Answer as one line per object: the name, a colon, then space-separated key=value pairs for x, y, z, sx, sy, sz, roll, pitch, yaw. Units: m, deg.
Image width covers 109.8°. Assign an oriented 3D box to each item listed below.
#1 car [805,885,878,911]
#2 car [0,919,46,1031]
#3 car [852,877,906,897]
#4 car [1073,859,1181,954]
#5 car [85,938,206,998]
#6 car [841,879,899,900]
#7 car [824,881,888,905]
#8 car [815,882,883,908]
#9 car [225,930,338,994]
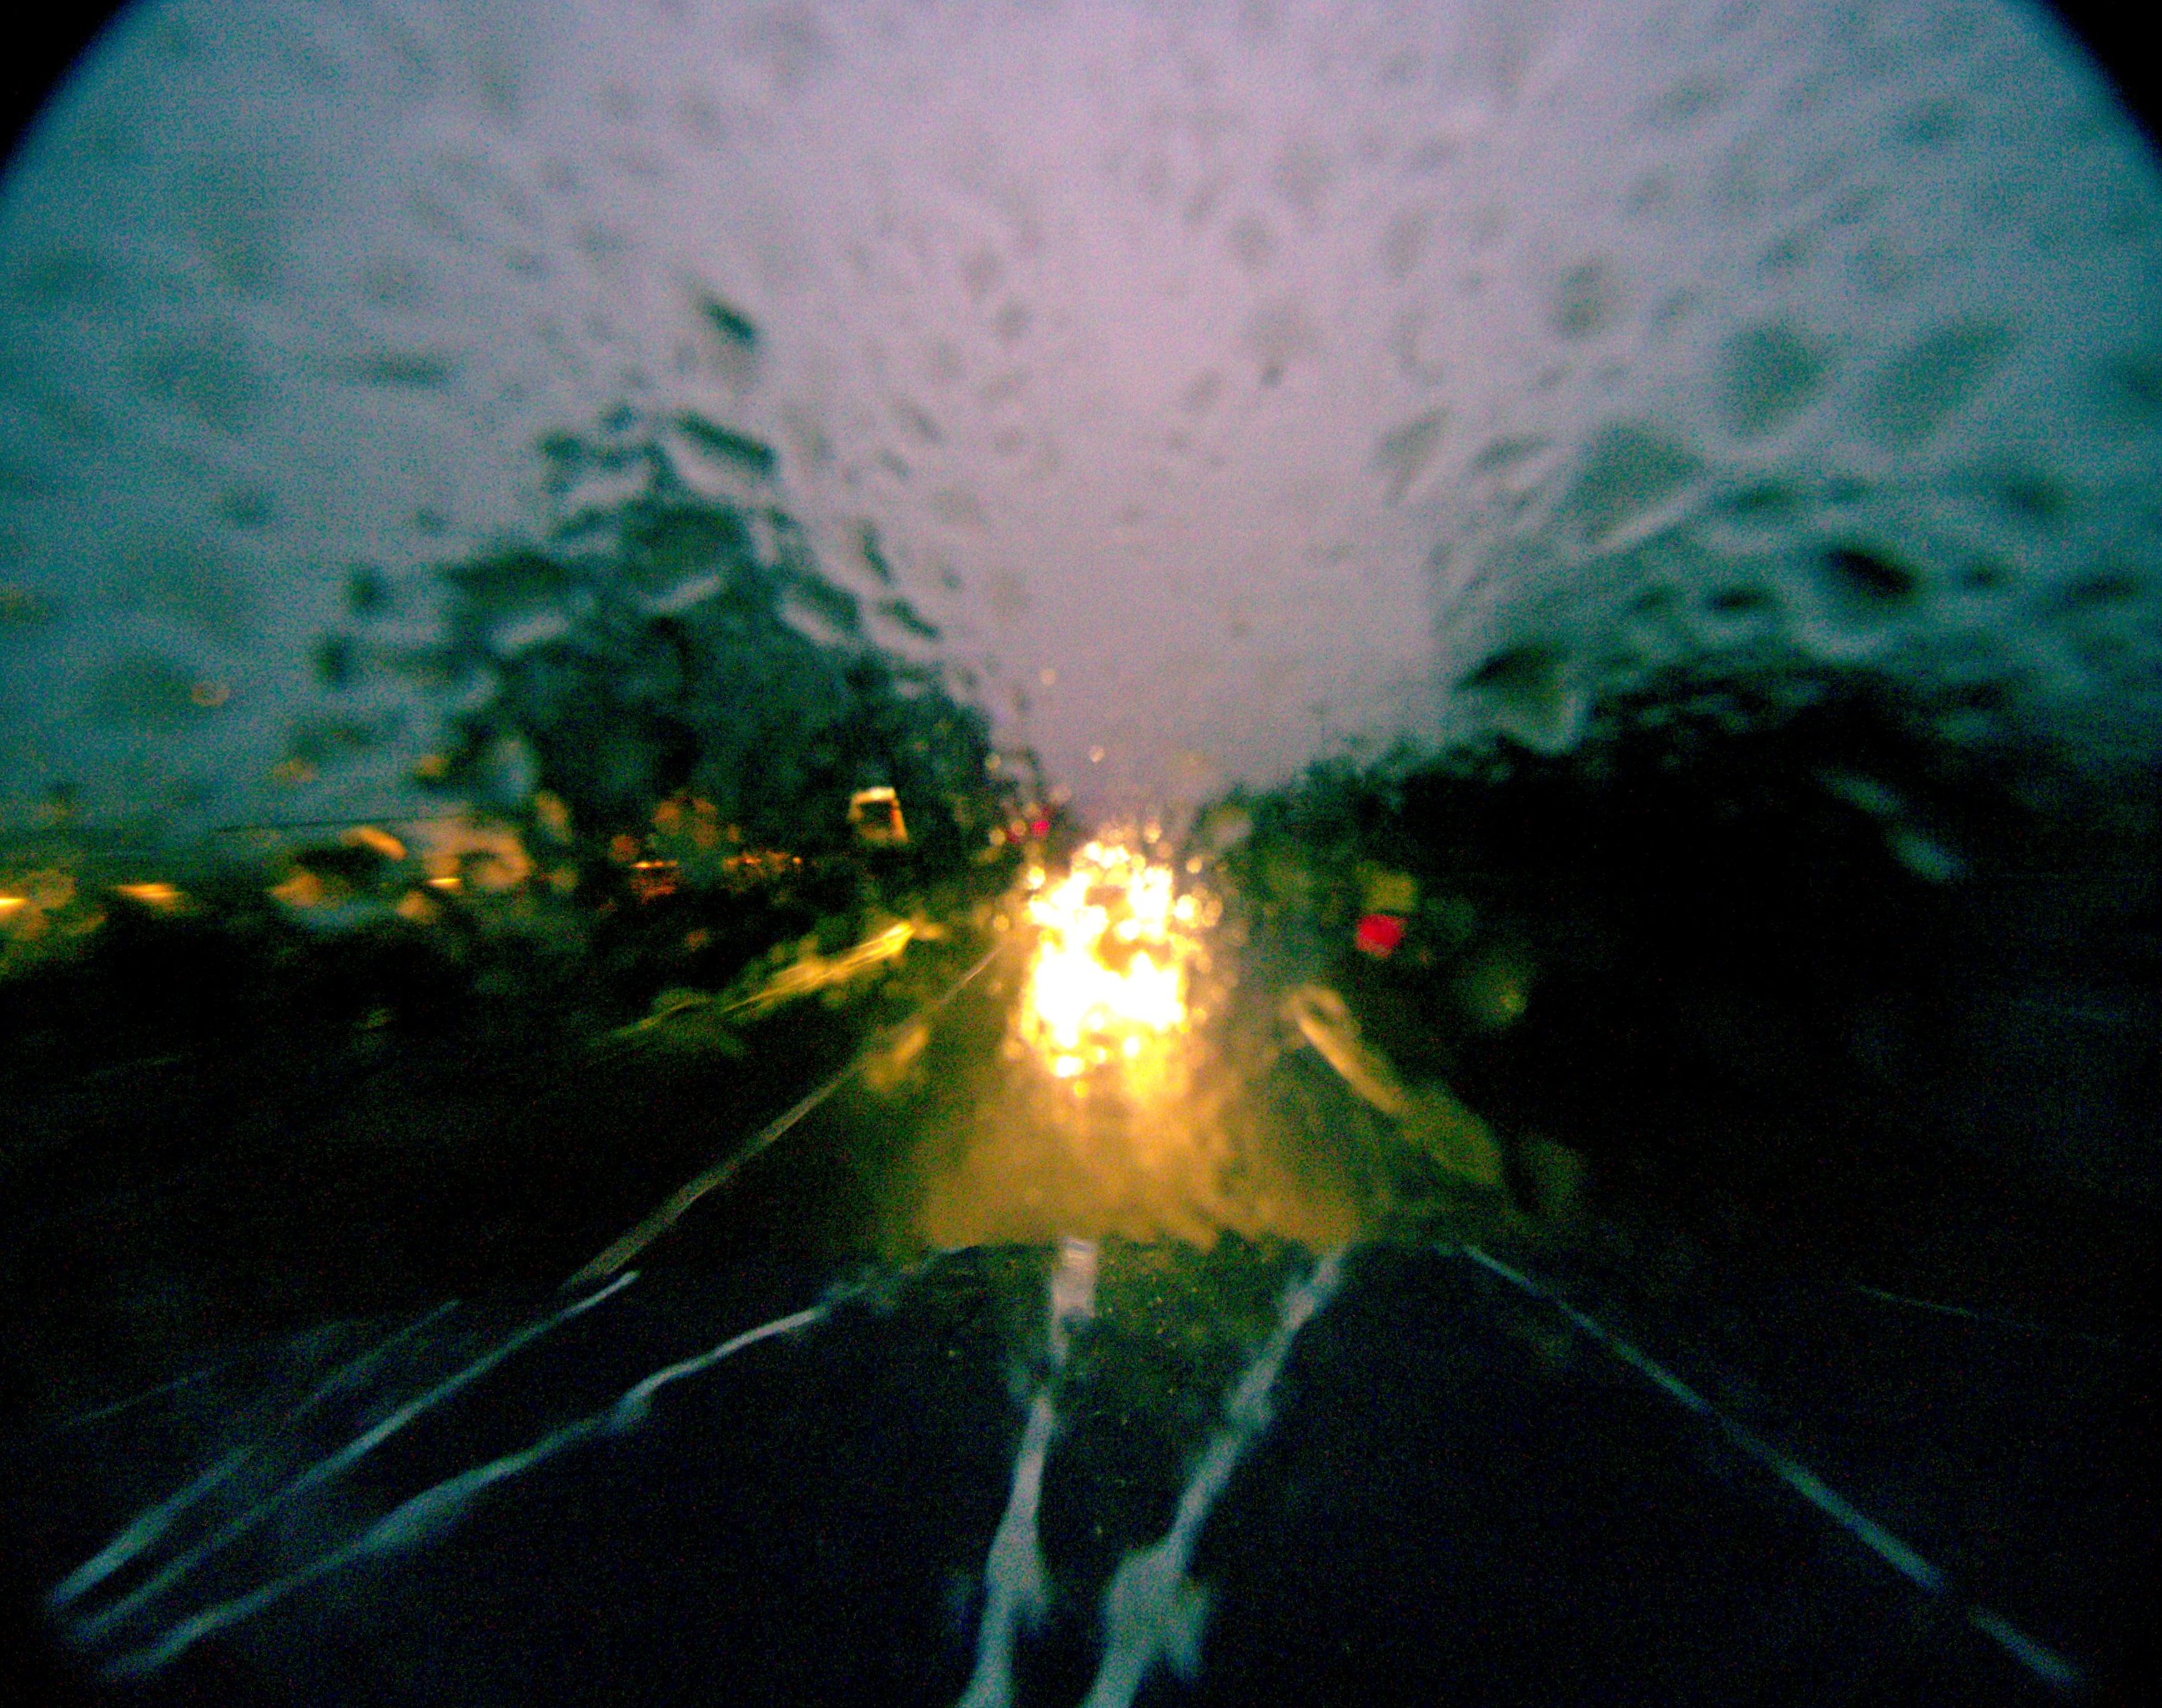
car: x=-14.806 y=2.711 z=47.183 sx=4.013 sy=1.404 sz=1.713 roll=-1 pitch=1 yaw=-8
car: x=-25.547 y=2.856 z=16.576 sx=2.285 sy=2.426 sz=5.225 roll=-2 pitch=1 yaw=-40
car: x=-16.410 y=2.676 z=61.827 sx=4.013 sy=1.404 sz=1.714 roll=-1 pitch=1 yaw=-7
car: x=0.798 y=0.942 z=15.544 sx=1.810 sy=1.453 sz=4.245 roll=-4 pitch=1 yaw=-1
car: x=-29.290 y=3.525 z=23.914 sx=1.532 sy=1.330 sz=3.578 roll=-2 pitch=1 yaw=-37
car: x=-16.209 y=2.712 z=58.505 sx=4.013 sy=1.404 sz=1.714 roll=-1 pitch=1 yaw=-7
car: x=-15.600 y=2.675 z=52.766 sx=4.013 sy=1.424 sz=1.713 roll=-1 pitch=1 yaw=-8
car: x=-15.291 y=2.713 z=50.215 sx=4.013 sy=1.483 sz=1.713 roll=-1 pitch=1 yaw=-8
car: x=-24.597 y=3.257 z=23.528 sx=1.718 sy=1.404 sz=4.003 roll=-2 pitch=1 yaw=-37
